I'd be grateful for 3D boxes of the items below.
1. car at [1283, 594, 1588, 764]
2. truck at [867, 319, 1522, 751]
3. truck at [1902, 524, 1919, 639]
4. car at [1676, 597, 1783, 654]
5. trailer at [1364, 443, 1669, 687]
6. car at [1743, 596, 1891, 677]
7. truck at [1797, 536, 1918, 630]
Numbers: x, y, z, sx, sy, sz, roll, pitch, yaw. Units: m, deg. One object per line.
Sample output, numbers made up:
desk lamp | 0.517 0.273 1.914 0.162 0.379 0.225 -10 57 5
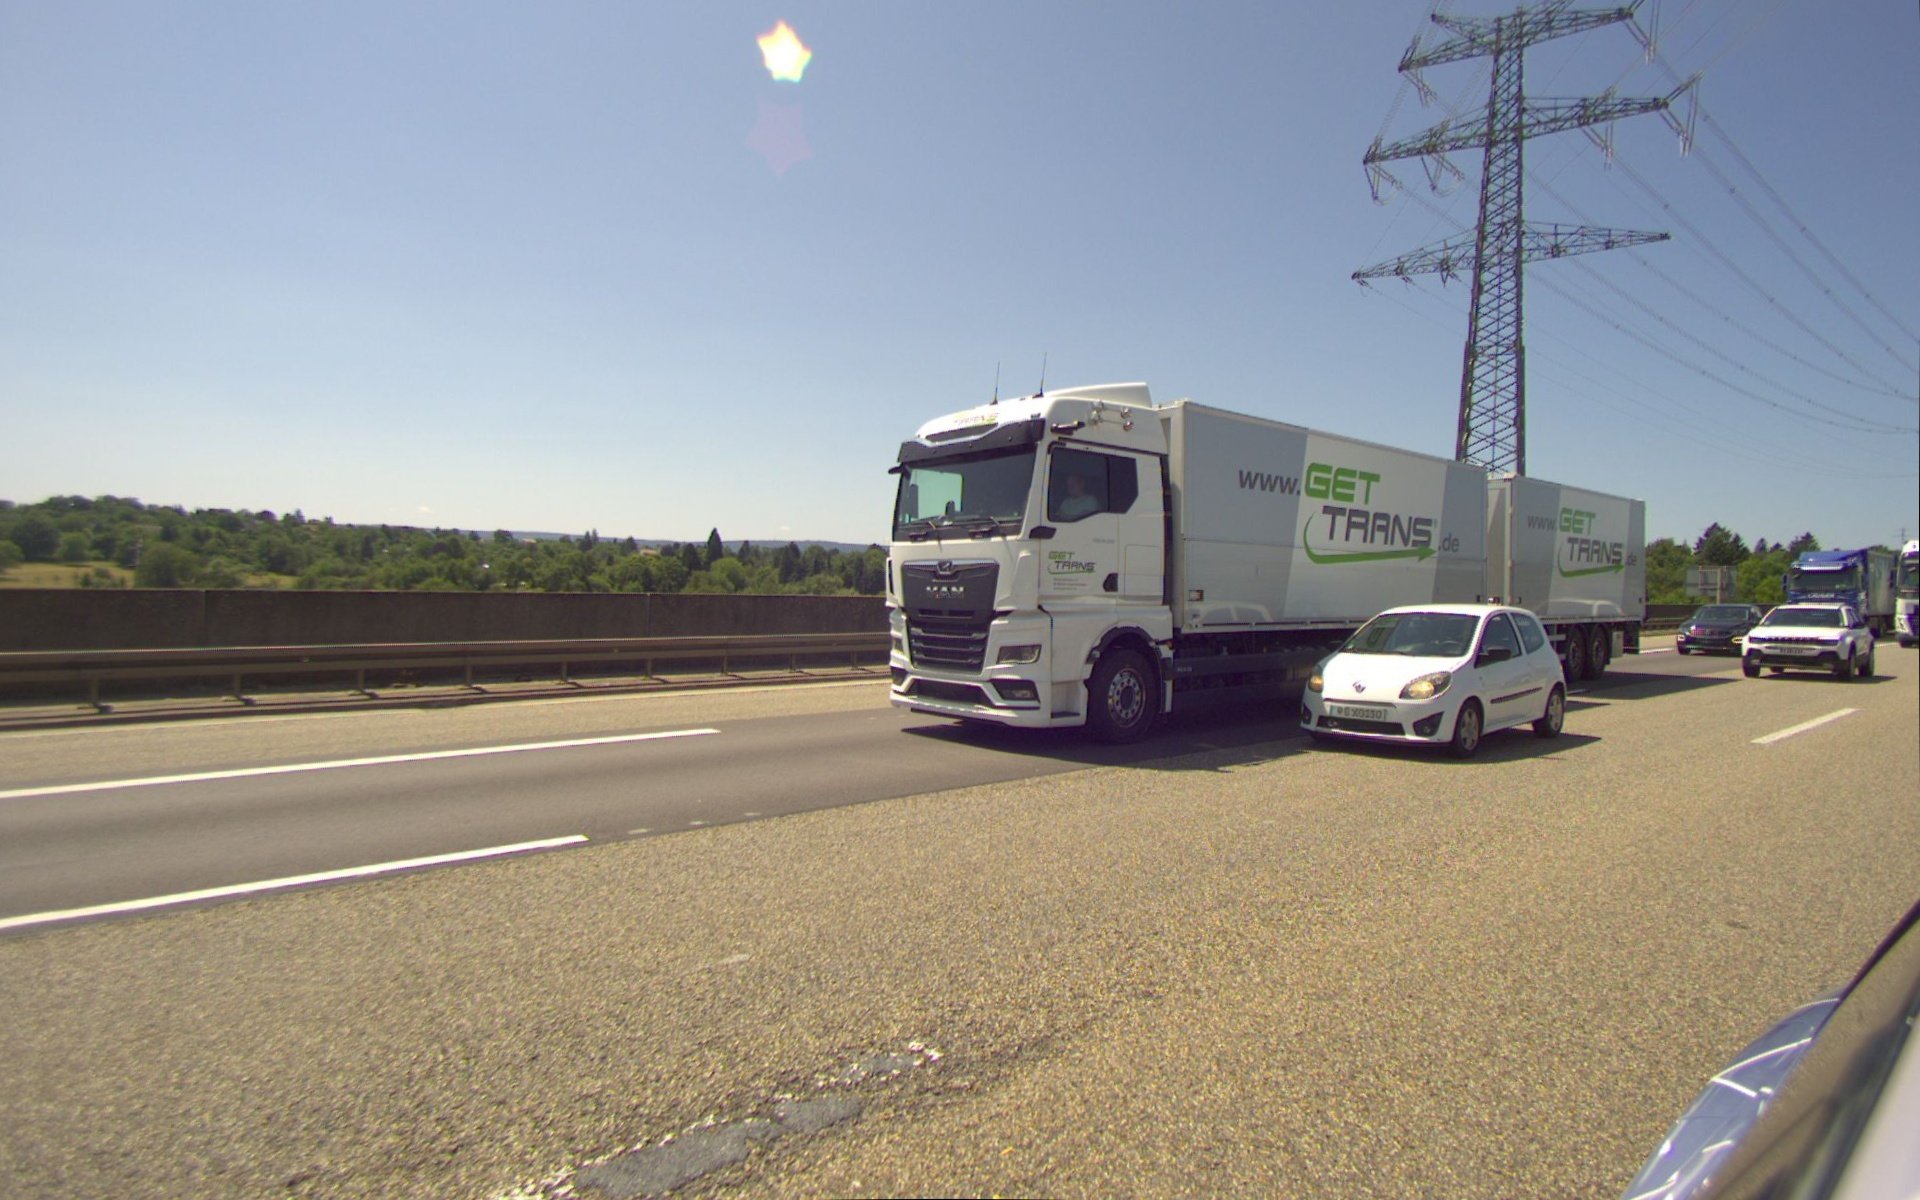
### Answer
car | 5.241 0.705 10.965 3.759 1.529 1.658 0 0 -42
truck | 4.064 -0.560 13.938 11.096 3.980 2.694 1 -1 -40
truck | 39.991 -0.578 39.749 14.001 4.090 2.716 1 -1 -40
car | 23.342 0.709 30.653 3.930 1.598 1.819 0 0 -41
trailer | 11.231 -0.551 20.033 7.635 3.991 2.750 1 -1 -40
car | 18.067 0.695 21.292 3.783 1.549 1.775 0 0 -40
truck | 41.982 -0.713 47.156 11.077 3.929 2.838 0 0 -41
